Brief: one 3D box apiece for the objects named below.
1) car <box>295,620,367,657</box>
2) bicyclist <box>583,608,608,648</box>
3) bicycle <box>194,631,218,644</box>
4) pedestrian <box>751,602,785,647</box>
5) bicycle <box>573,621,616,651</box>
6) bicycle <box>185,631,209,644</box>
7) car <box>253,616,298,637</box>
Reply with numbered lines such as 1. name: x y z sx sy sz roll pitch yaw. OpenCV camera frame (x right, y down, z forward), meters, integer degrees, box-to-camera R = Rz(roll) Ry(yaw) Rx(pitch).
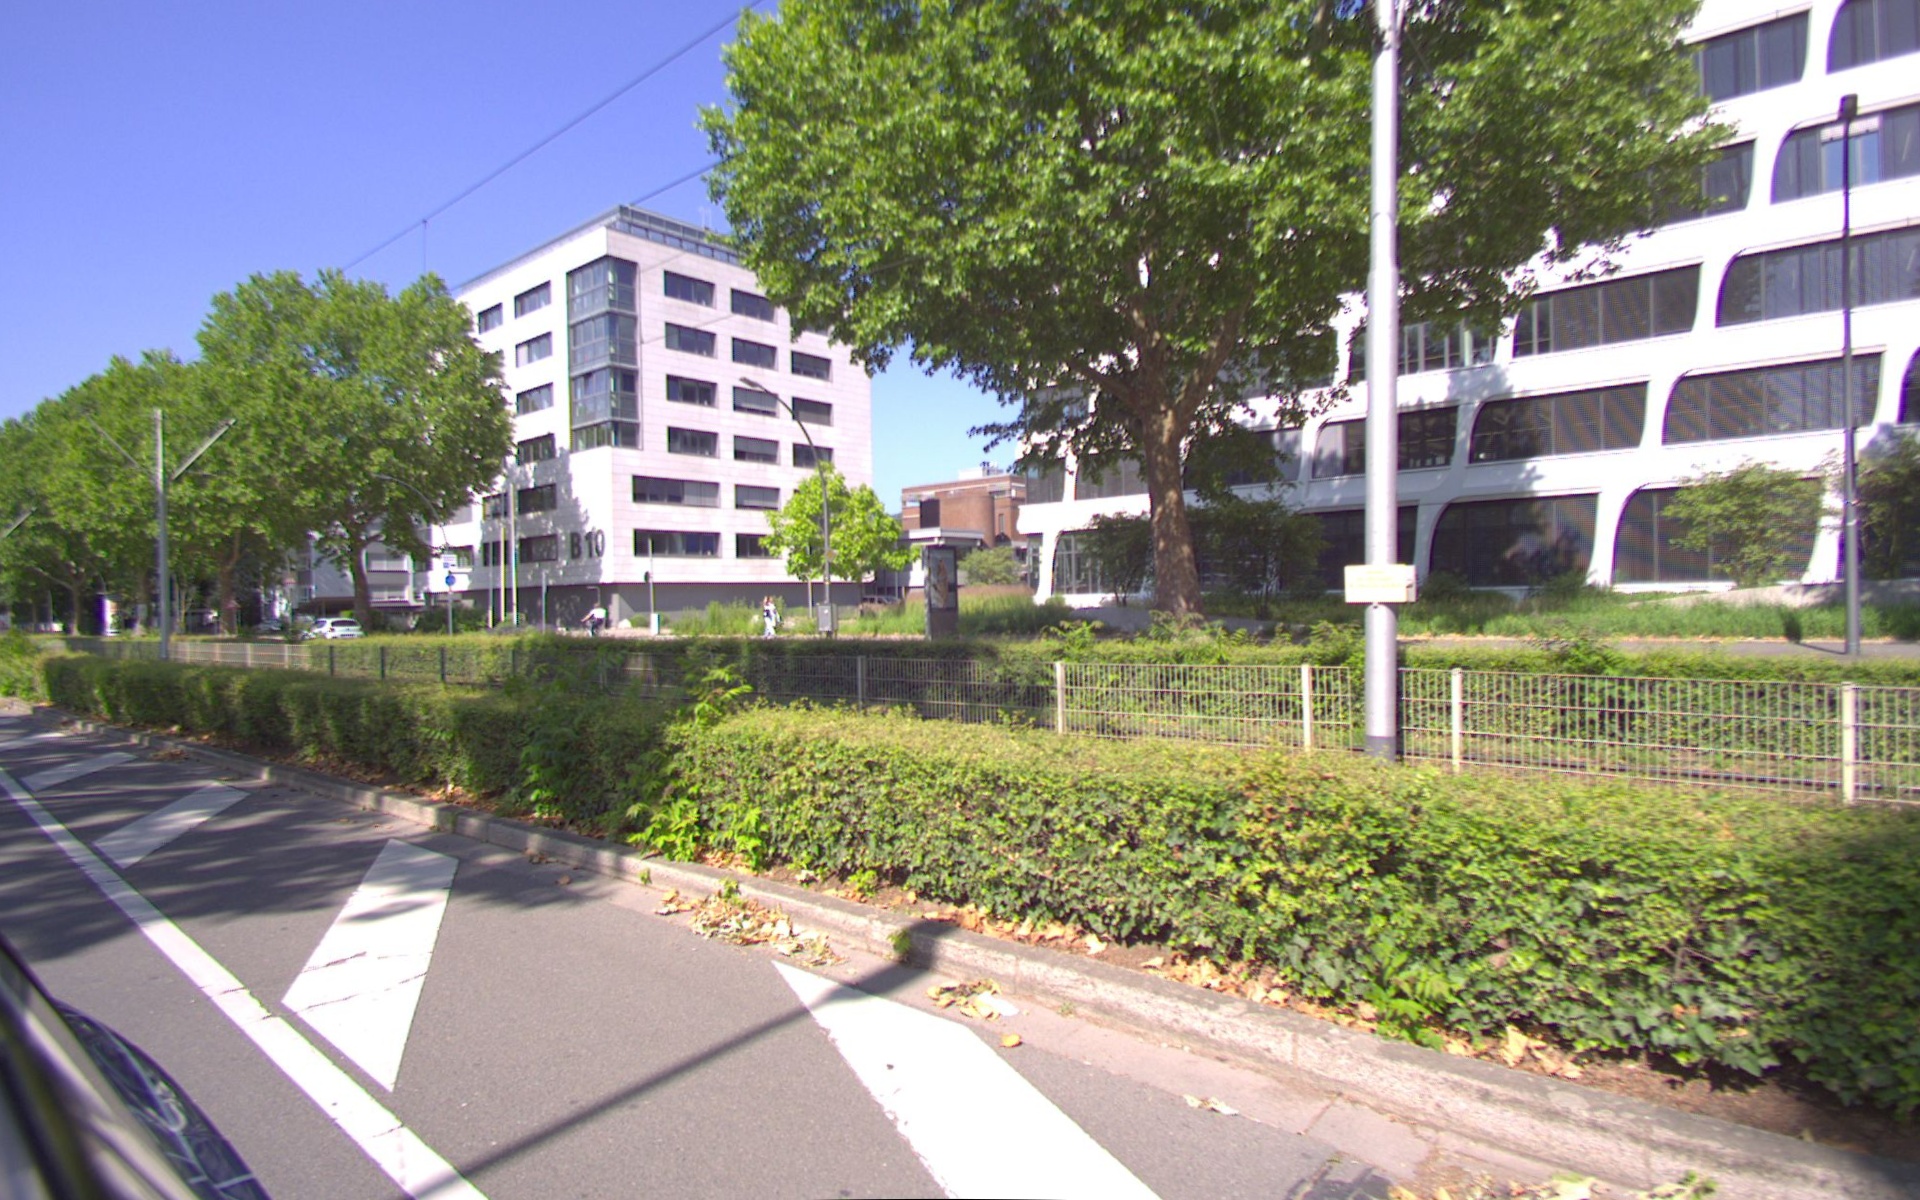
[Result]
1. car: -29.617 1.800 47.631 4.016 1.581 1.738 -2 0 41
2. bicyclist: -14.190 1.089 39.436 0.640 1.546 0.648 -2 0 41
3. bicycle: -69.879 3.489 93.826 0.421 1.111 1.749 -2 0 38
4. pedestrian: -7.109 0.909 37.433 1.014 1.600 0.713 -2 0 41
5. bicycle: -14.275 1.403 39.514 2.029 1.132 0.657 -2 0 41
6. bicycle: -71.816 3.552 95.210 0.421 1.111 1.749 -2 0 38
7. car: -54.825 2.148 81.015 4.344 1.561 1.725 -2 0 39
